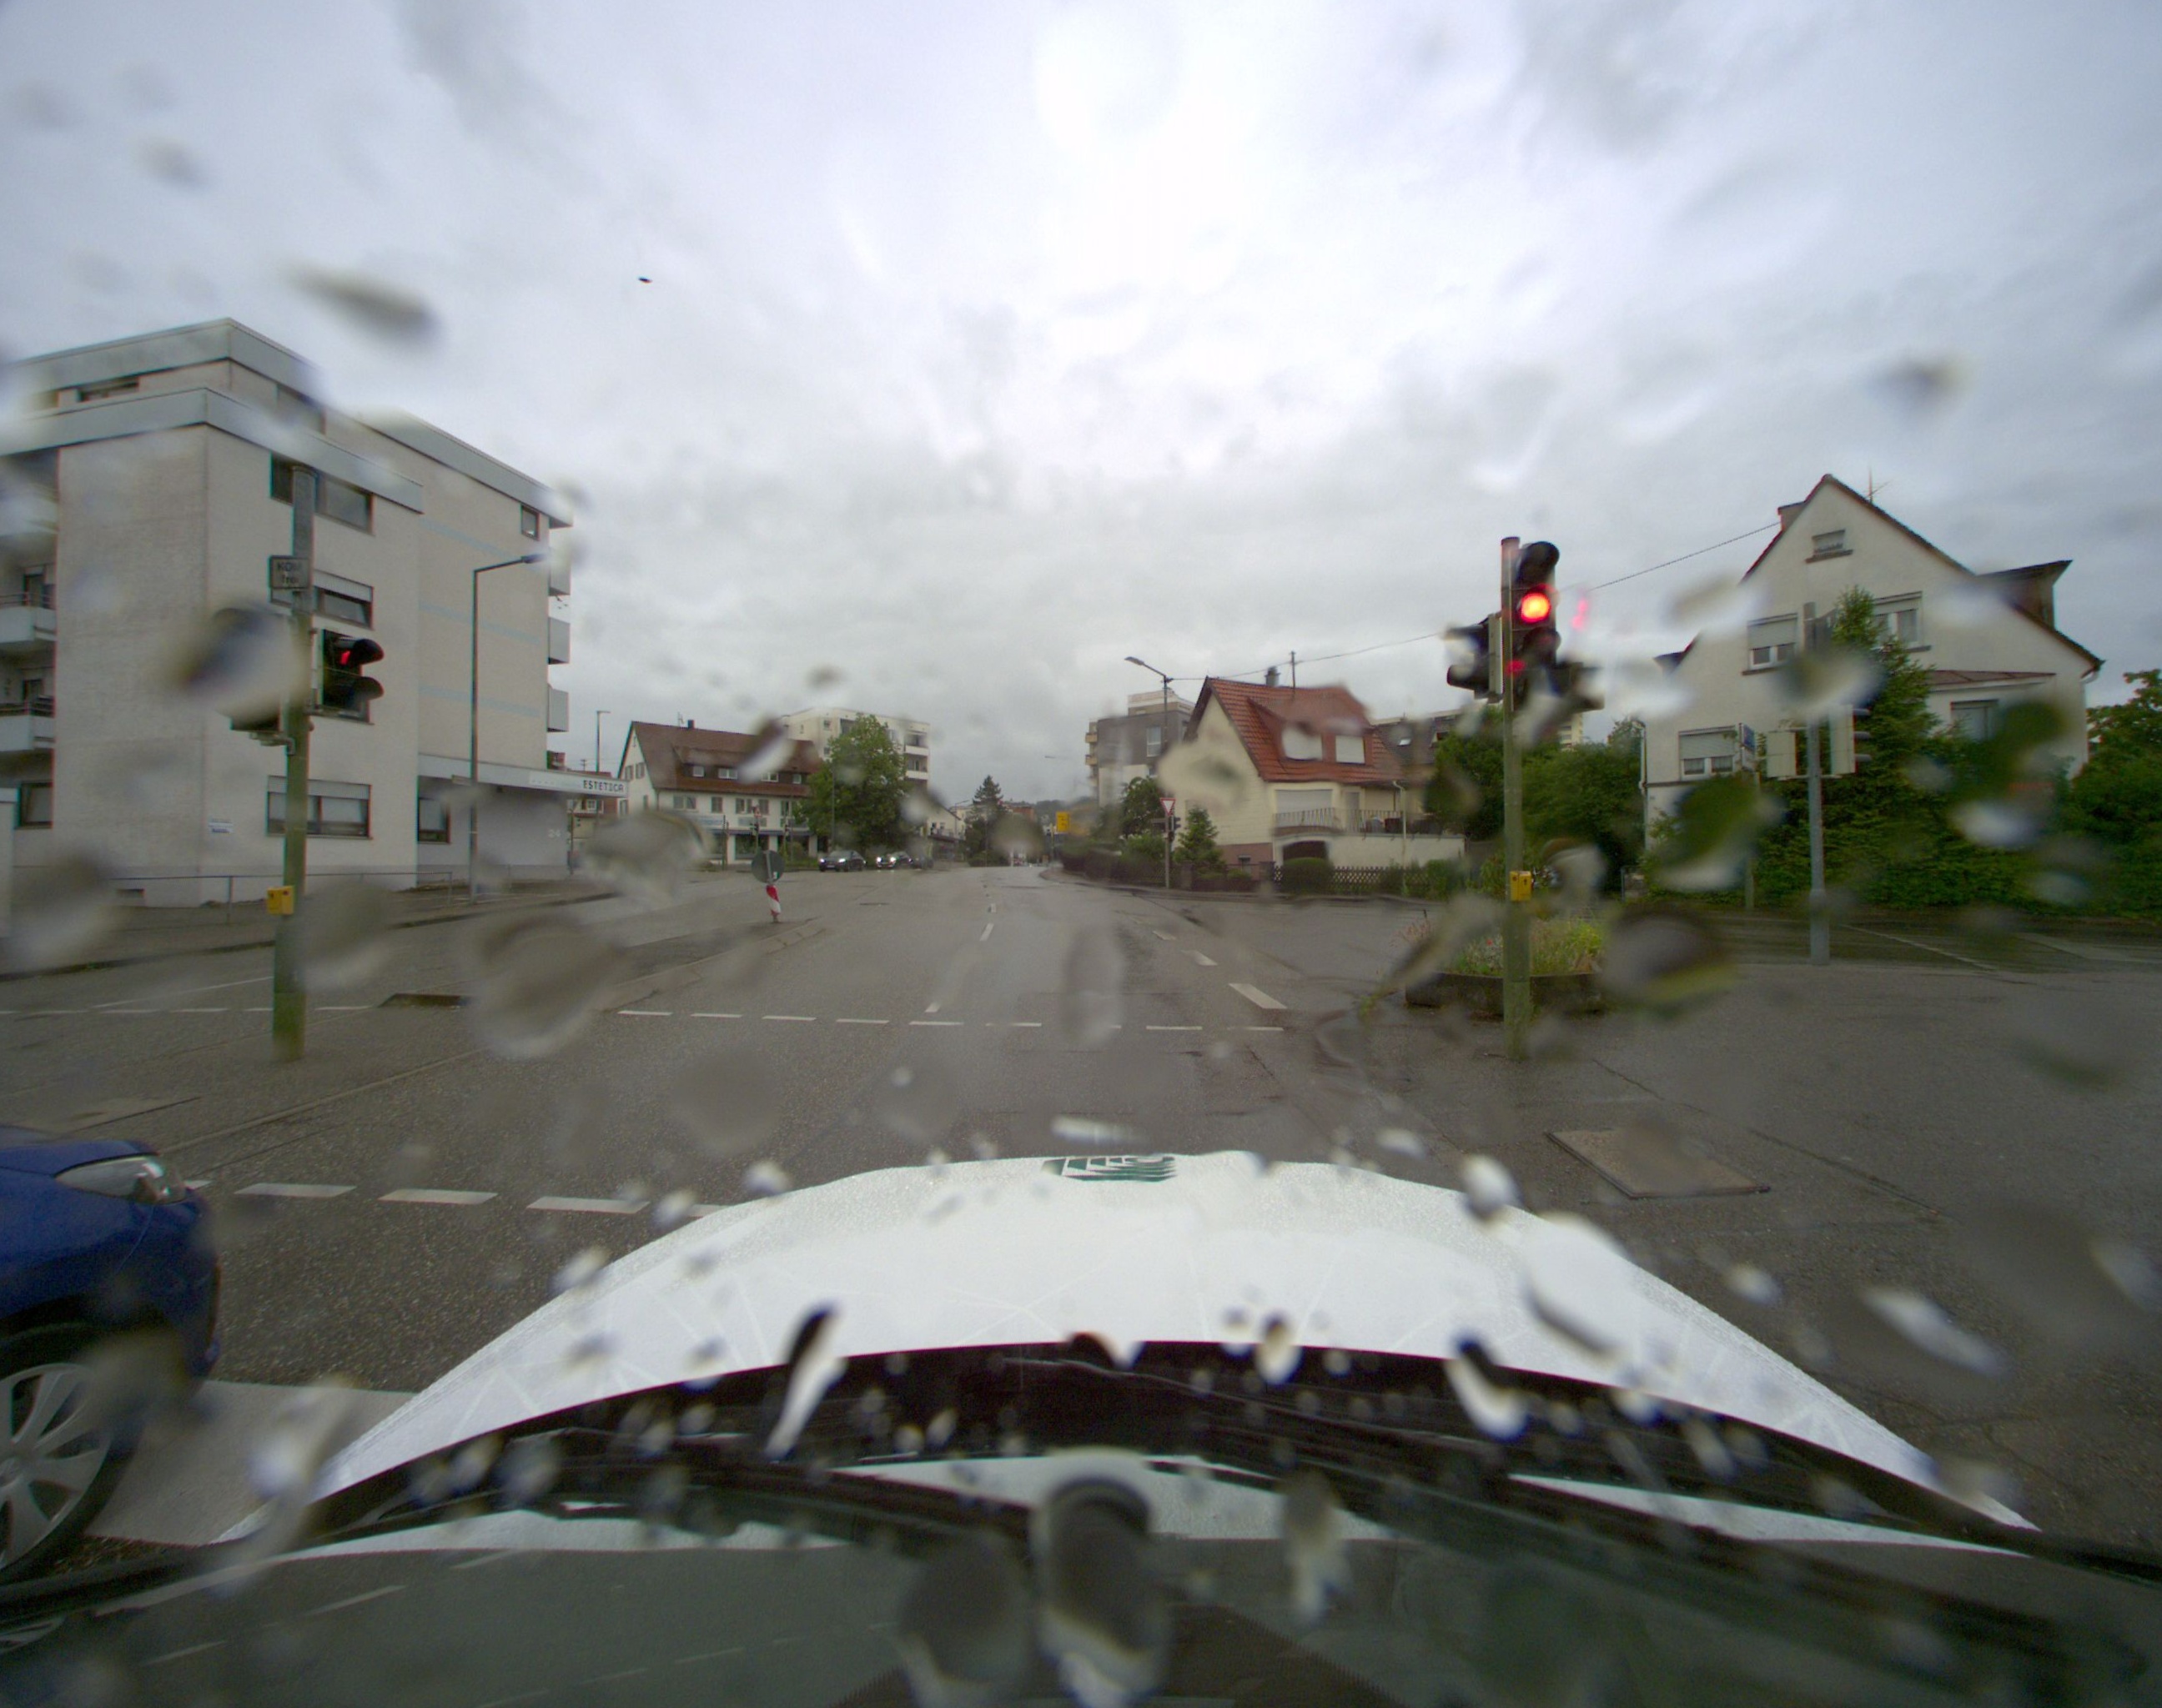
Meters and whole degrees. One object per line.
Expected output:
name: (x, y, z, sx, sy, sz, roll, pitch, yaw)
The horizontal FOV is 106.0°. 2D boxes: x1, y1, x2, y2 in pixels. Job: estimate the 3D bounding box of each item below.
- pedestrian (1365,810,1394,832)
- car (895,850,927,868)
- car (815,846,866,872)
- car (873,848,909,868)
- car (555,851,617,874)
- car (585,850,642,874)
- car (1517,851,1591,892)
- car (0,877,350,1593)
pedestrian: (12.774, -1.422, 34.851, 0.918, 0.883, 0.632, 0, -3, -18)
car: (-14.953, 0.450, 71.792, 1.873, 1.597, 4.184, 0, -1, 0)
car: (-15.920, 0.332, 54.169, 1.987, 1.625, 4.538, 0, -1, 0)
car: (-15.268, 0.346, 65.579, 1.960, 1.512, 3.999, 0, -1, 0)
car: (-41.209, 0.678, 67.802, 4.093, 1.843, 1.864, 0, -1, -44)
car: (-38.435, 0.639, 66.979, 3.706, 1.920, 1.864, 0, -1, -44)
car: (17.114, 0.609, 29.365, 1.794, 1.362, 4.025, -1, -1, 37)
car: (-2.952, 0.787, 0.721, 1.499, 1.413, 3.365, 0, 0, 2)
